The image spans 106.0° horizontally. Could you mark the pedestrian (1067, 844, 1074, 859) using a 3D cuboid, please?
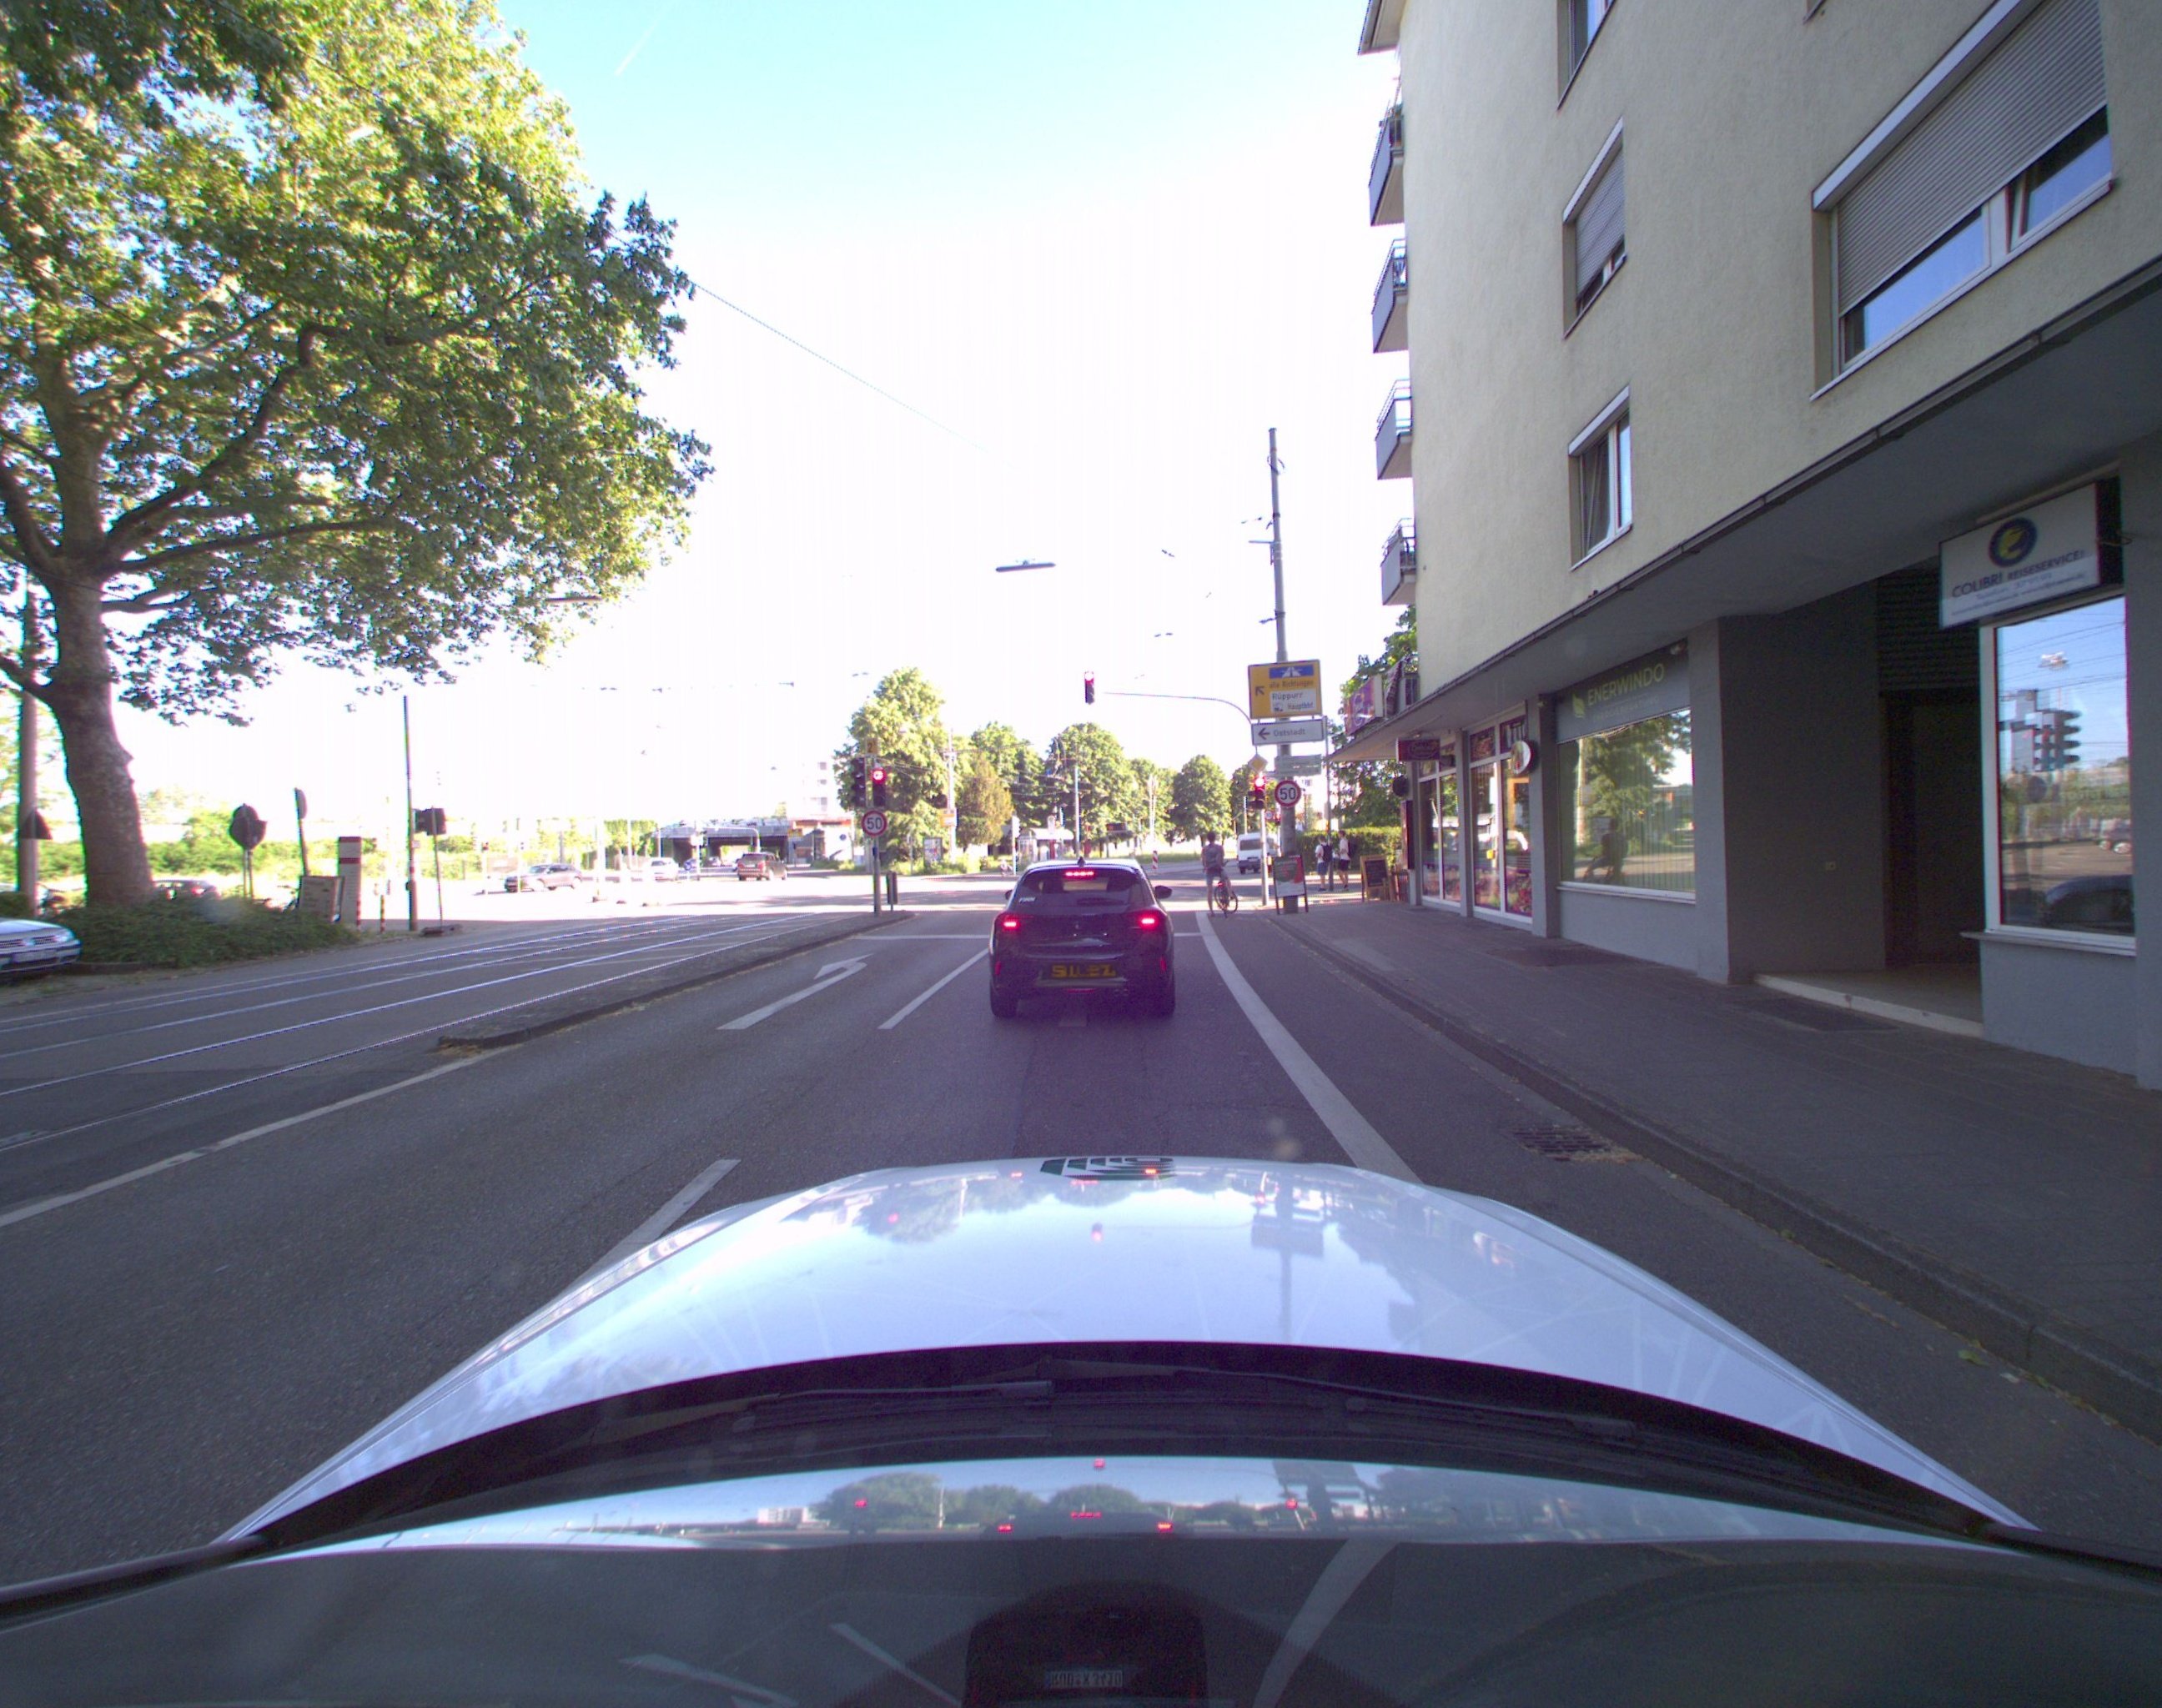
[{"bbox_3d":[-1.268,-0.283,99.051,0.736,1.872,0.661,0,-1,-4],"label":"pedestrian"}]

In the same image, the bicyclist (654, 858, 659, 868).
[{"bbox_3d":[-54.364,1.176,104.379,0.528,1.222,0.525,-1,0,-26],"label":"bicyclist"}]

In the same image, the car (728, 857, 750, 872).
[{"bbox_3d":[-35.468,1.057,84.324,2.000,1.552,4.162,0,-1,-25],"label":"car"}]

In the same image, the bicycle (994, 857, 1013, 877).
[{"bbox_3d":[-4.401,0.745,46.464,0.793,1.064,2.186,-2,0,2],"label":"bicycle"}]

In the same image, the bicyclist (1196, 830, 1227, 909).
[{"bbox_3d":[2.867,0.331,17.831,0.529,1.692,0.571,-2,0,19],"label":"bicyclist"}]

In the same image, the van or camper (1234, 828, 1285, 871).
[{"bbox_3d":[10.182,-0.224,46.200,2.011,2.310,4.565,-1,-1,23],"label":"van or camper"}]

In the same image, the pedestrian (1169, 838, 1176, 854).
[{"bbox_3d":[10.778,-0.899,96.203,0.513,1.872,0.609,-1,-1,42],"label":"pedestrian"}]

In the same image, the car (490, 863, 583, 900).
[{"bbox_3d":[-29.947,1.471,44.964,1.973,1.764,4.364,-2,0,3],"label":"car"}]

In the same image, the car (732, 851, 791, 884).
[{"bbox_3d":[-20.342,0.816,52.101,1.903,1.881,4.843,-2,0,-1],"label":"car"}]

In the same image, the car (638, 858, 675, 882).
[{"bbox_3d":[-29.353,1.069,56.384,1.892,1.585,3.809,0,-1,-21],"label":"car"}]

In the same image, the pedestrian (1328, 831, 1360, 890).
[{"bbox_3d":[8.210,0.195,25.450,0.736,1.820,0.639,-1,-1,43],"label":"pedestrian"}]

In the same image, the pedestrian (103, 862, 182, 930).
[{"bbox_3d":[-23.118,1.014,20.070,0.842,1.647,0.931,0,-1,1],"label":"pedestrian"}]

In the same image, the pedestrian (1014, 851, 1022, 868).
[{"bbox_3d":[-5.545,0.502,72.082,0.567,1.472,0.666,-2,0,4],"label":"pedestrian"}]

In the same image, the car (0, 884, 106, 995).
[{"bbox_3d":[-16.625,1.197,11.357,3.957,1.453,1.670,-1,0,-1],"label":"car"}]

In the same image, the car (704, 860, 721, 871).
[{"bbox_3d":[-52.017,1.586,115.002,1.892,1.585,3.809,0,-1,-21],"label":"car"}]

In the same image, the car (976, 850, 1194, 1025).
[{"bbox_3d":[0.097,0.704,8.946,1.833,1.462,3.985,-1,0,2],"label":"car"}]

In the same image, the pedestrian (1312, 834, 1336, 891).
[{"bbox_3d":[7.571,0.271,25.355,0.627,1.763,0.585,-1,-1,22],"label":"pedestrian"}]

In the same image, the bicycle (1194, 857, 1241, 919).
[{"bbox_3d":[3.036,0.715,17.997,0.747,1.235,2.024,-2,0,16],"label":"bicycle"}]
